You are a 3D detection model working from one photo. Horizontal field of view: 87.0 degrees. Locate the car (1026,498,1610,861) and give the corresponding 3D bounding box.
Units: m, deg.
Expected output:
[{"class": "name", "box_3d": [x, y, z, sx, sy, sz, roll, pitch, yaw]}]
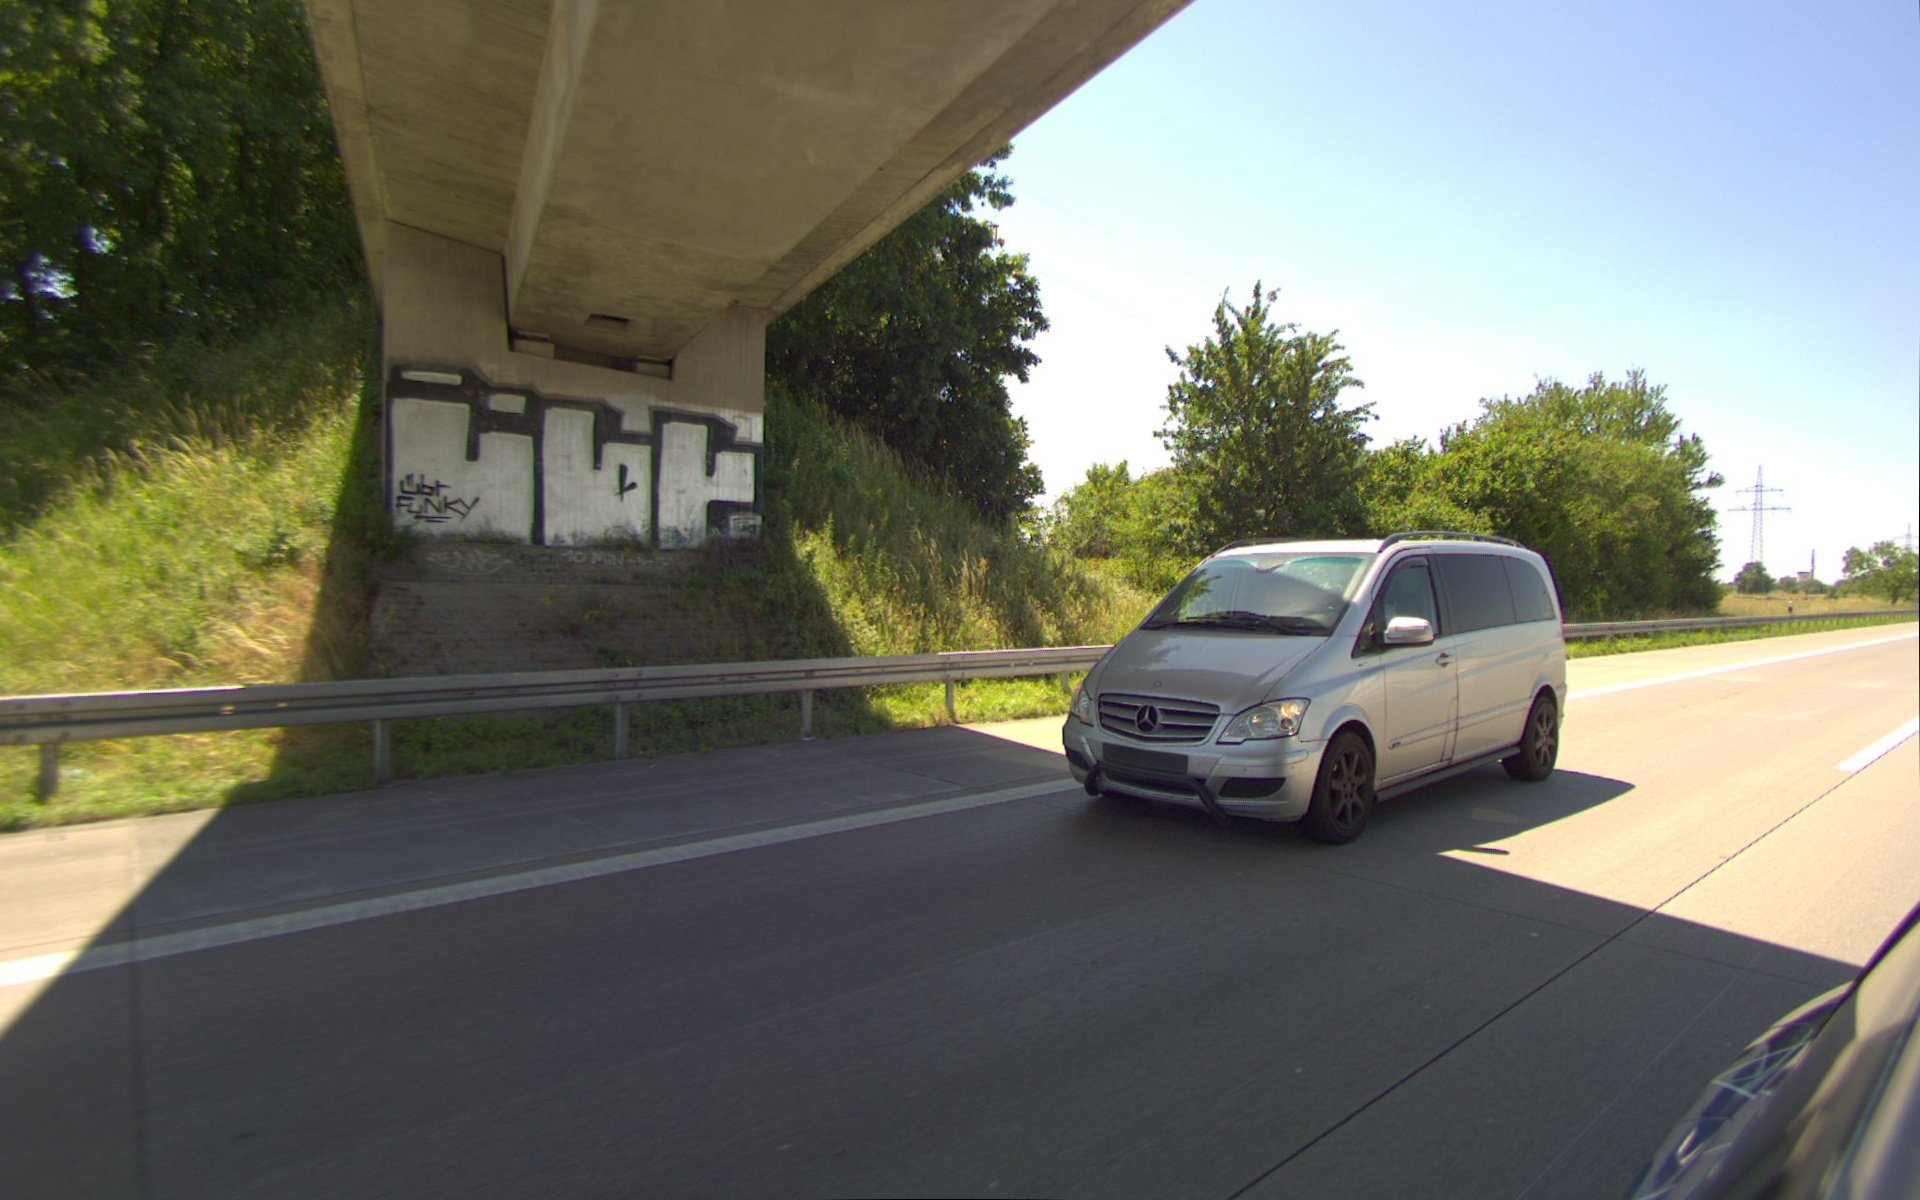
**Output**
[{"class": "car", "box_3d": [3.019, 0.397, 7.738, 5.187, 1.913, 1.883, 0, 1, -41]}]
